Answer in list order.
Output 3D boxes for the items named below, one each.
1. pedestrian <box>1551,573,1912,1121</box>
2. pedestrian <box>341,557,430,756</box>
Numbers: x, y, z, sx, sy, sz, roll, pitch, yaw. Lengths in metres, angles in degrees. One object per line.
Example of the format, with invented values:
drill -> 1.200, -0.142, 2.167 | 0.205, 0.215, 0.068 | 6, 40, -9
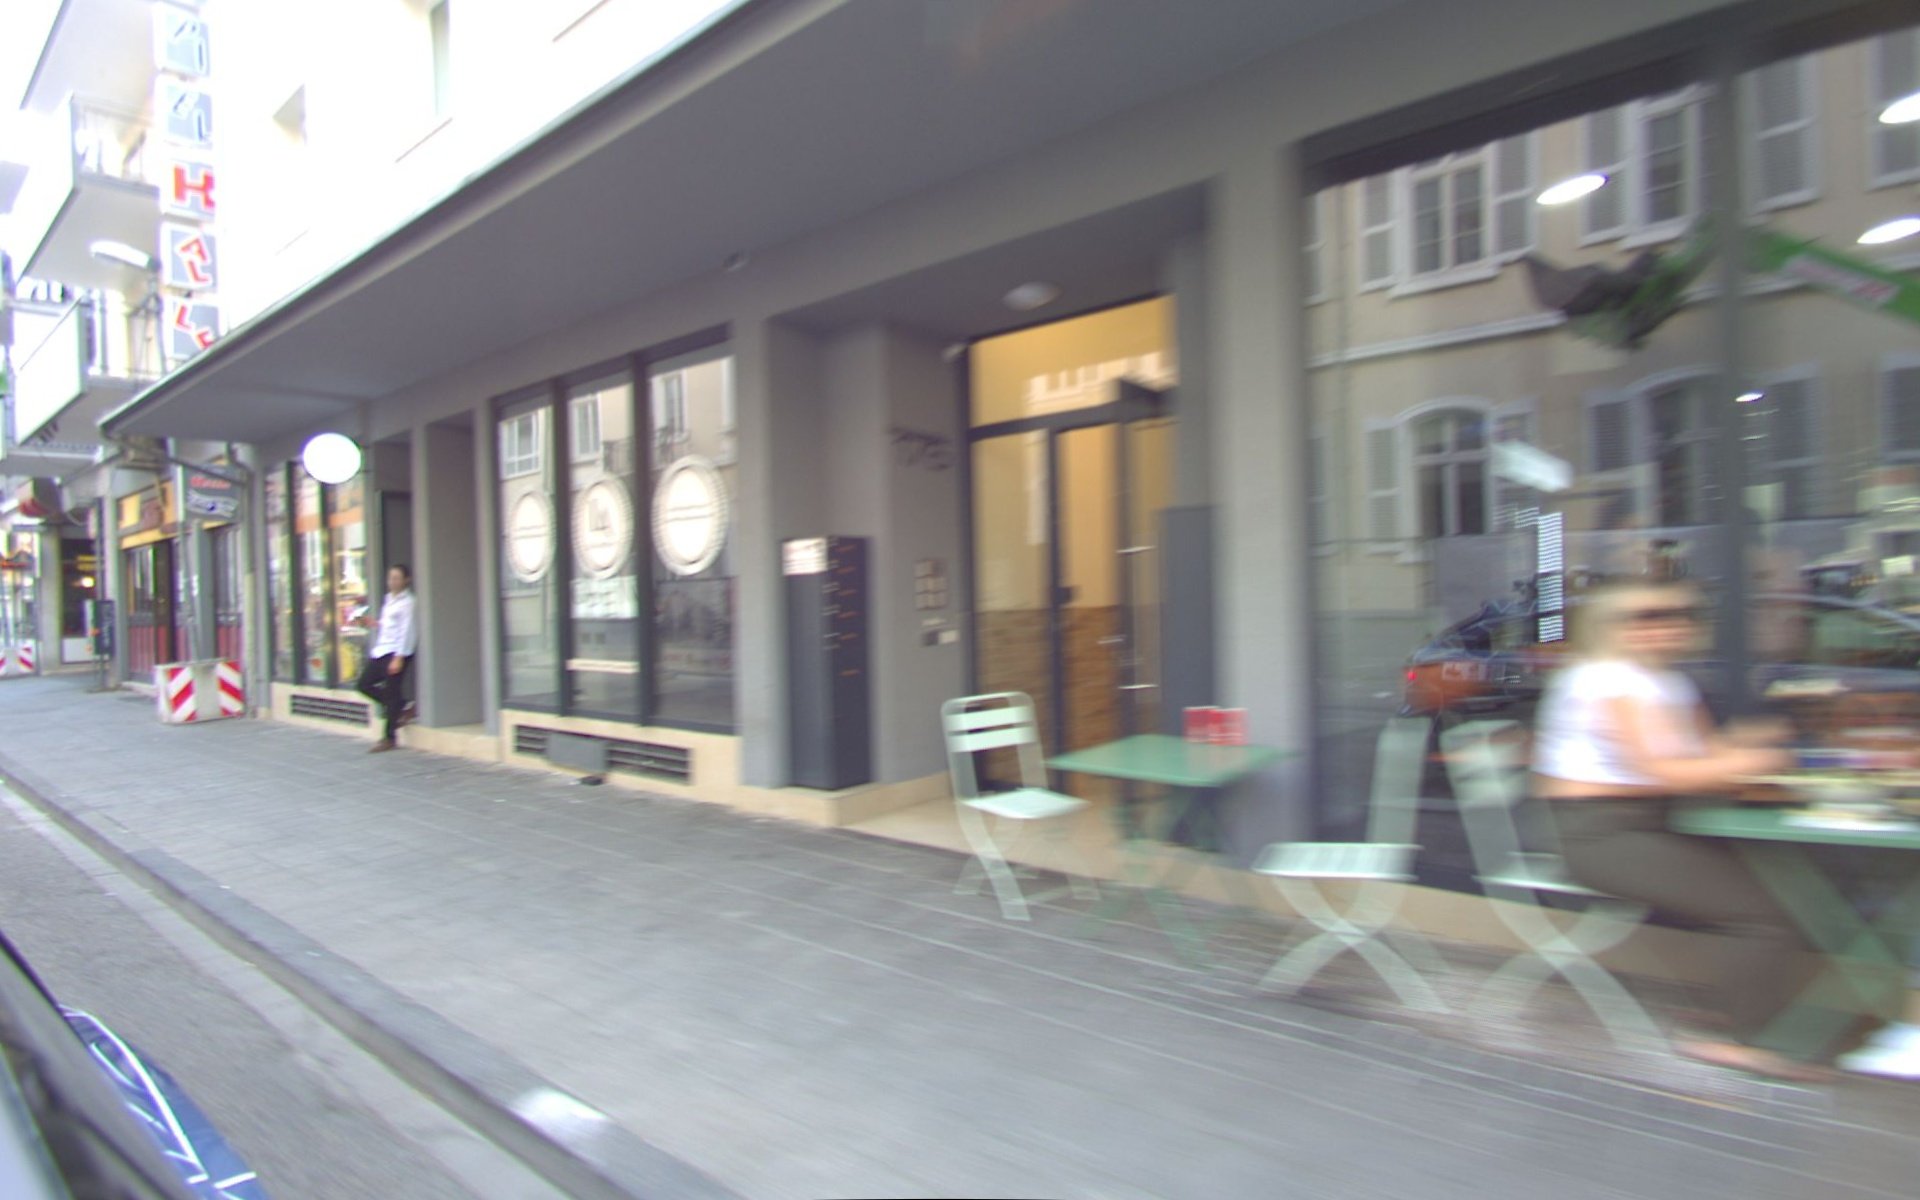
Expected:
pedestrian -> 2.141, 0.588, 2.839 | 0.713, 1.285, 0.567 | -2, 1, 41
pedestrian -> -5.538, 0.526, 9.758 | 0.561, 1.848, 0.526 | -2, -1, 35
